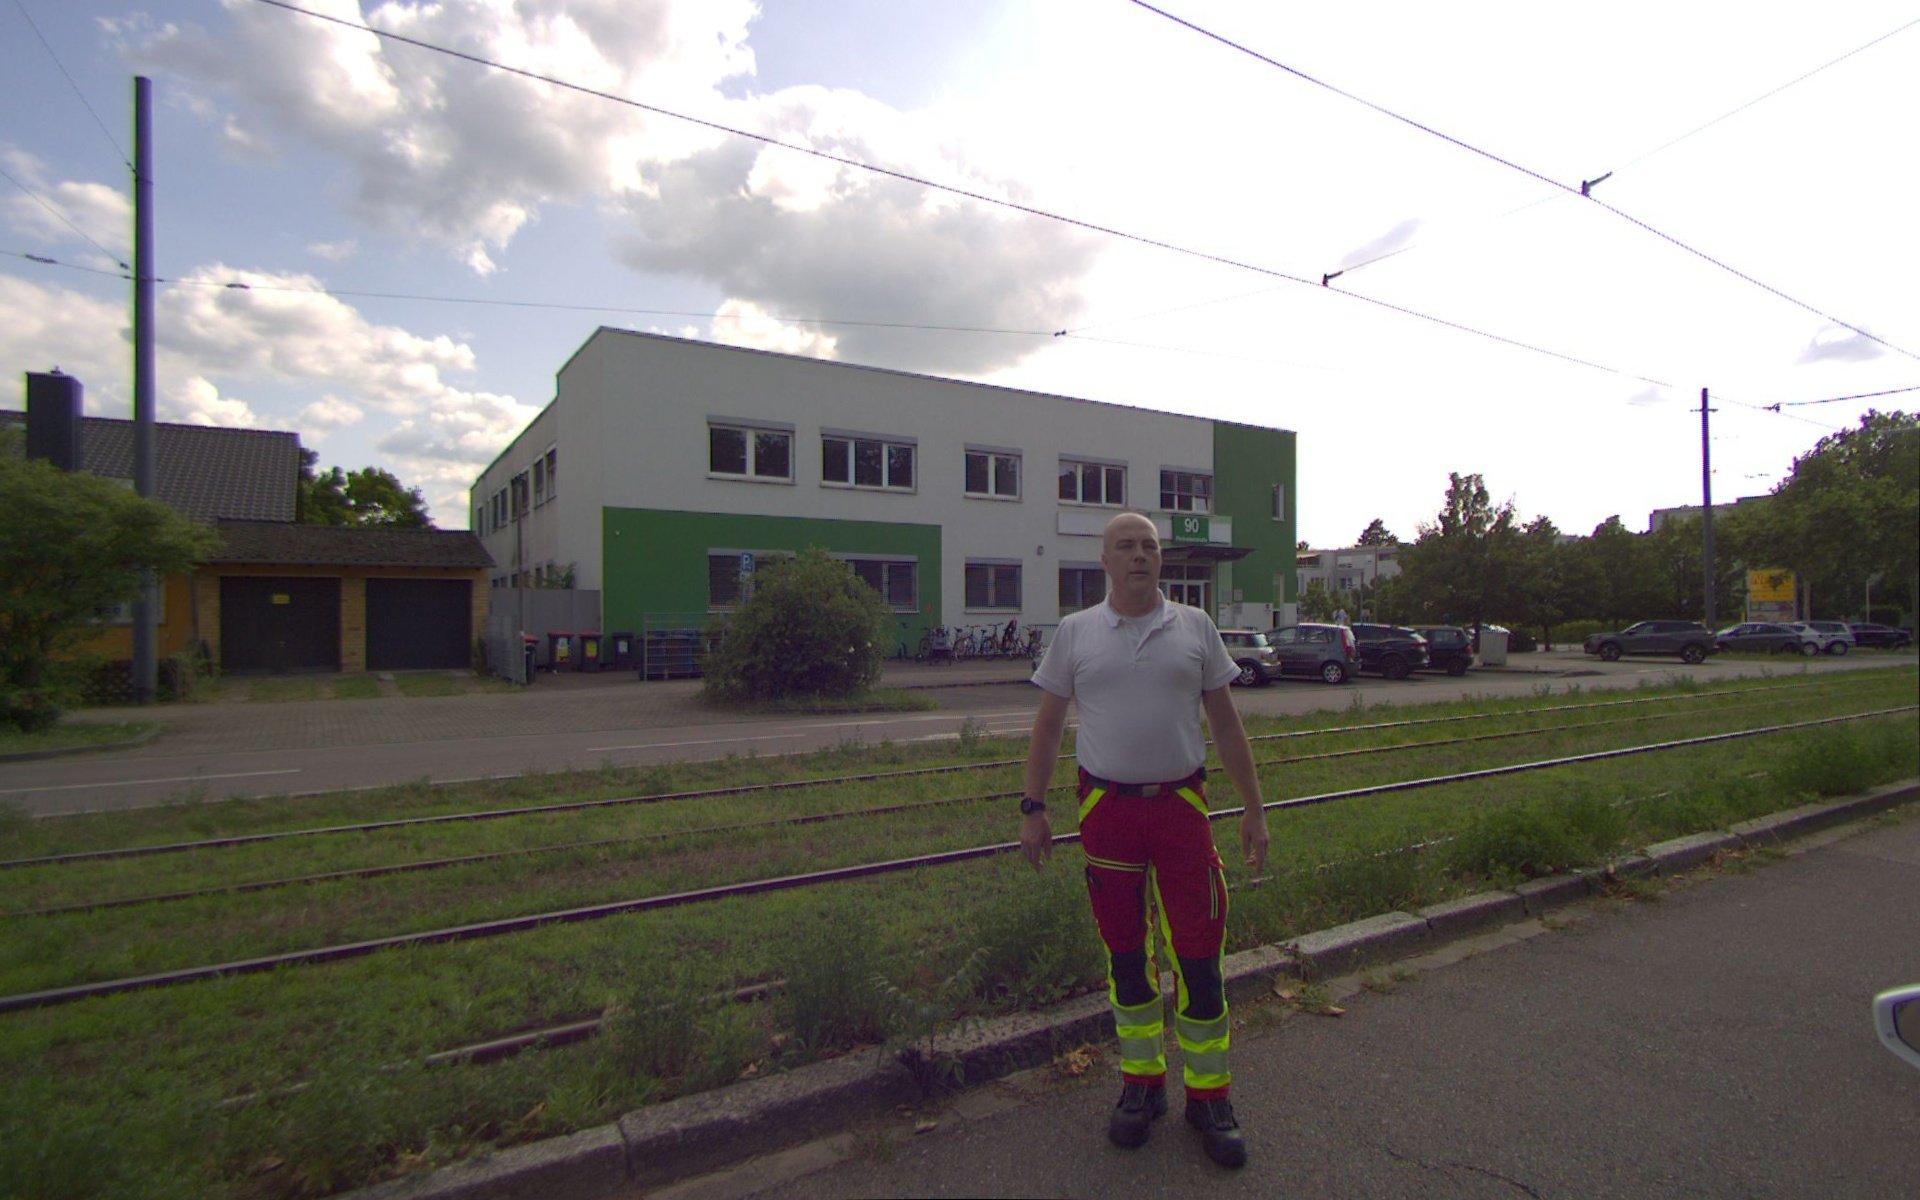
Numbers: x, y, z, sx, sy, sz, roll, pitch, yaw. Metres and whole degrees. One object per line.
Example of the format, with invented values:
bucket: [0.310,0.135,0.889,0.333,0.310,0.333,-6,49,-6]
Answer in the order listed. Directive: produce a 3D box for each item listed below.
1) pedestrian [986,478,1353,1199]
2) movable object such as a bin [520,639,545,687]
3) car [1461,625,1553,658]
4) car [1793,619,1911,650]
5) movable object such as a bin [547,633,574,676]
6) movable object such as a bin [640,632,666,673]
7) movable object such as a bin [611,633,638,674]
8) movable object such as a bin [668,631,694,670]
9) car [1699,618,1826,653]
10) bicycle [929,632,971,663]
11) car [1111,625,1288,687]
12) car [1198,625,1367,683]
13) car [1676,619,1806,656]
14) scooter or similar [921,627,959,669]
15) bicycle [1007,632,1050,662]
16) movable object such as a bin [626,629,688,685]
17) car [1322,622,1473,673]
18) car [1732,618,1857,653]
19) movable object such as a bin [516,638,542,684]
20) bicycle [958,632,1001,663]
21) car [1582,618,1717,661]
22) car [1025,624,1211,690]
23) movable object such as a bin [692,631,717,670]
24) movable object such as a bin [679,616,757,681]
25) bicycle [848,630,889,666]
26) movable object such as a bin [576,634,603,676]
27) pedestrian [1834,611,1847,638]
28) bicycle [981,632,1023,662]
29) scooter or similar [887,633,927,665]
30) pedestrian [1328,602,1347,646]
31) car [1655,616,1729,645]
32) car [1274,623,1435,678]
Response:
pedestrian: [0.523,0.574,2.835,0.791,1.709,0.850,0,0,-6]
movable object such as a bin: [-9.922,1.459,23.311,0.476,1.056,0.502,-1,1,-32]
car: [29.048,2.189,53.436,1.756,1.586,3.969,1,0,-29]
car: [46.054,1.770,51.974,4.151,1.502,1.884,1,0,19]
movable object such as a bin: [-10.395,1.409,26.150,0.558,1.056,0.565,-1,1,-31]
movable object such as a bin: [-8.388,1.423,27.448,0.558,1.056,0.565,-1,1,-31]
movable object such as a bin: [-9.043,1.439,27.066,0.558,1.056,0.565,-1,1,-31]
movable object such as a bin: [-7.731,1.395,27.847,0.558,1.056,0.565,-1,1,-31]
car: [36.674,1.607,46.018,4.153,1.502,1.883,1,0,23]
bicycle: [-0.325,1.496,32.009,0.453,0.911,1.848,1,0,-31]
car: [6.252,1.426,26.321,4.159,1.501,1.880,-1,-2,29]
car: [8.900,1.455,27.749,4.159,1.501,1.880,-1,-2,29]
car: [34.332,1.631,44.303,4.153,1.502,1.883,1,0,23]
scooter or similar: [-0.616,1.418,29.940,1.073,1.171,1.306,1,0,-3]
bicycle: [2.273,1.560,33.639,0.453,0.911,1.848,1,0,-31]
movable object such as a bin: [-7.354,1.353,24.343,1.241,1.251,1.001,-1,1,-30]
car: [13.677,1.458,31.414,4.159,1.501,1.880,-1,-2,29]
car: [39.319,1.648,47.435,4.153,1.502,1.883,1,0,23]
movable object such as a bin: [-10.208,1.437,23.789,0.474,1.056,0.490,-1,1,-32]
bicycle: [0.614,1.522,32.642,0.453,0.911,1.848,1,0,-31]
car: [26.231,1.482,38.385,4.163,1.502,1.878,0,-1,34]
car: [3.873,1.372,24.627,4.155,1.501,1.882,-1,-1,24]
movable object such as a bin: [-7.170,1.411,28.170,0.558,1.056,0.565,-1,1,-31]
movable object such as a bin: [-6.050,1.183,25.120,1.691,1.540,1.001,-1,1,-30]
bicycle: [-2.785,1.426,30.310,0.453,0.999,1.848,1,0,-31]
movable object such as a bin: [-9.791,1.435,26.559,0.558,1.056,0.565,-1,1,-31]
pedestrian: [56.222,1.581,64.121,0.597,1.699,0.463,0,-1,-34]
bicycle: [1.369,1.544,33.115,0.453,0.911,1.848,1,0,-31]
scooter or similar: [-1.662,1.515,31.302,0.453,0.911,1.726,1,0,-31]
pedestrian: [15.781,1.007,41.978,0.504,1.852,0.542,0,-1,-34]
car: [48.218,1.993,66.270,1.961,1.773,3.999,1,0,-1]
car: [11.502,1.455,29.340,4.159,1.501,1.880,-1,-2,29]
